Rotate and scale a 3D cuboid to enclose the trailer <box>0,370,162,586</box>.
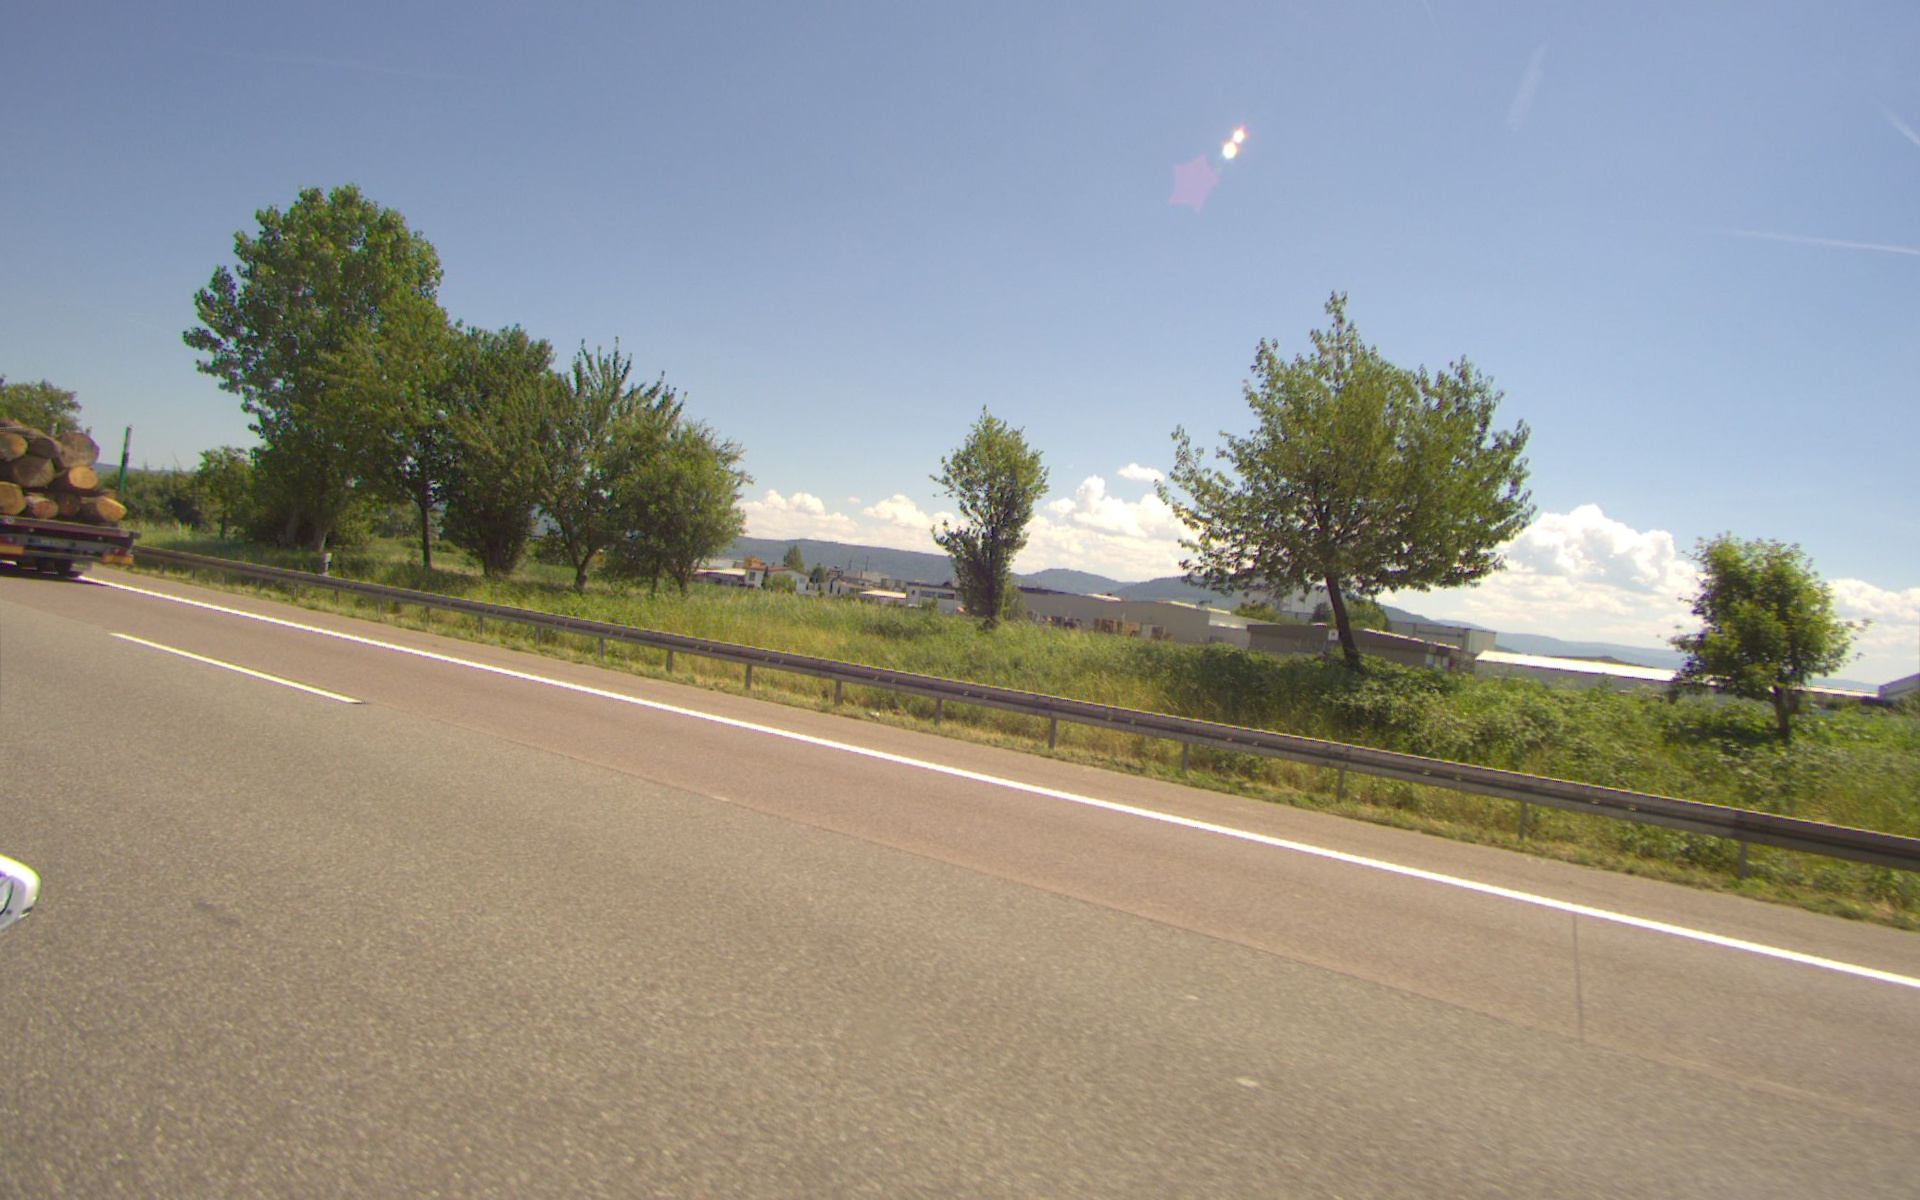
[{"bbox_3d":[-24.146,-3.072,24.489,13.410,4.005,2.658,7,-1,32],"label":"trailer"}]
